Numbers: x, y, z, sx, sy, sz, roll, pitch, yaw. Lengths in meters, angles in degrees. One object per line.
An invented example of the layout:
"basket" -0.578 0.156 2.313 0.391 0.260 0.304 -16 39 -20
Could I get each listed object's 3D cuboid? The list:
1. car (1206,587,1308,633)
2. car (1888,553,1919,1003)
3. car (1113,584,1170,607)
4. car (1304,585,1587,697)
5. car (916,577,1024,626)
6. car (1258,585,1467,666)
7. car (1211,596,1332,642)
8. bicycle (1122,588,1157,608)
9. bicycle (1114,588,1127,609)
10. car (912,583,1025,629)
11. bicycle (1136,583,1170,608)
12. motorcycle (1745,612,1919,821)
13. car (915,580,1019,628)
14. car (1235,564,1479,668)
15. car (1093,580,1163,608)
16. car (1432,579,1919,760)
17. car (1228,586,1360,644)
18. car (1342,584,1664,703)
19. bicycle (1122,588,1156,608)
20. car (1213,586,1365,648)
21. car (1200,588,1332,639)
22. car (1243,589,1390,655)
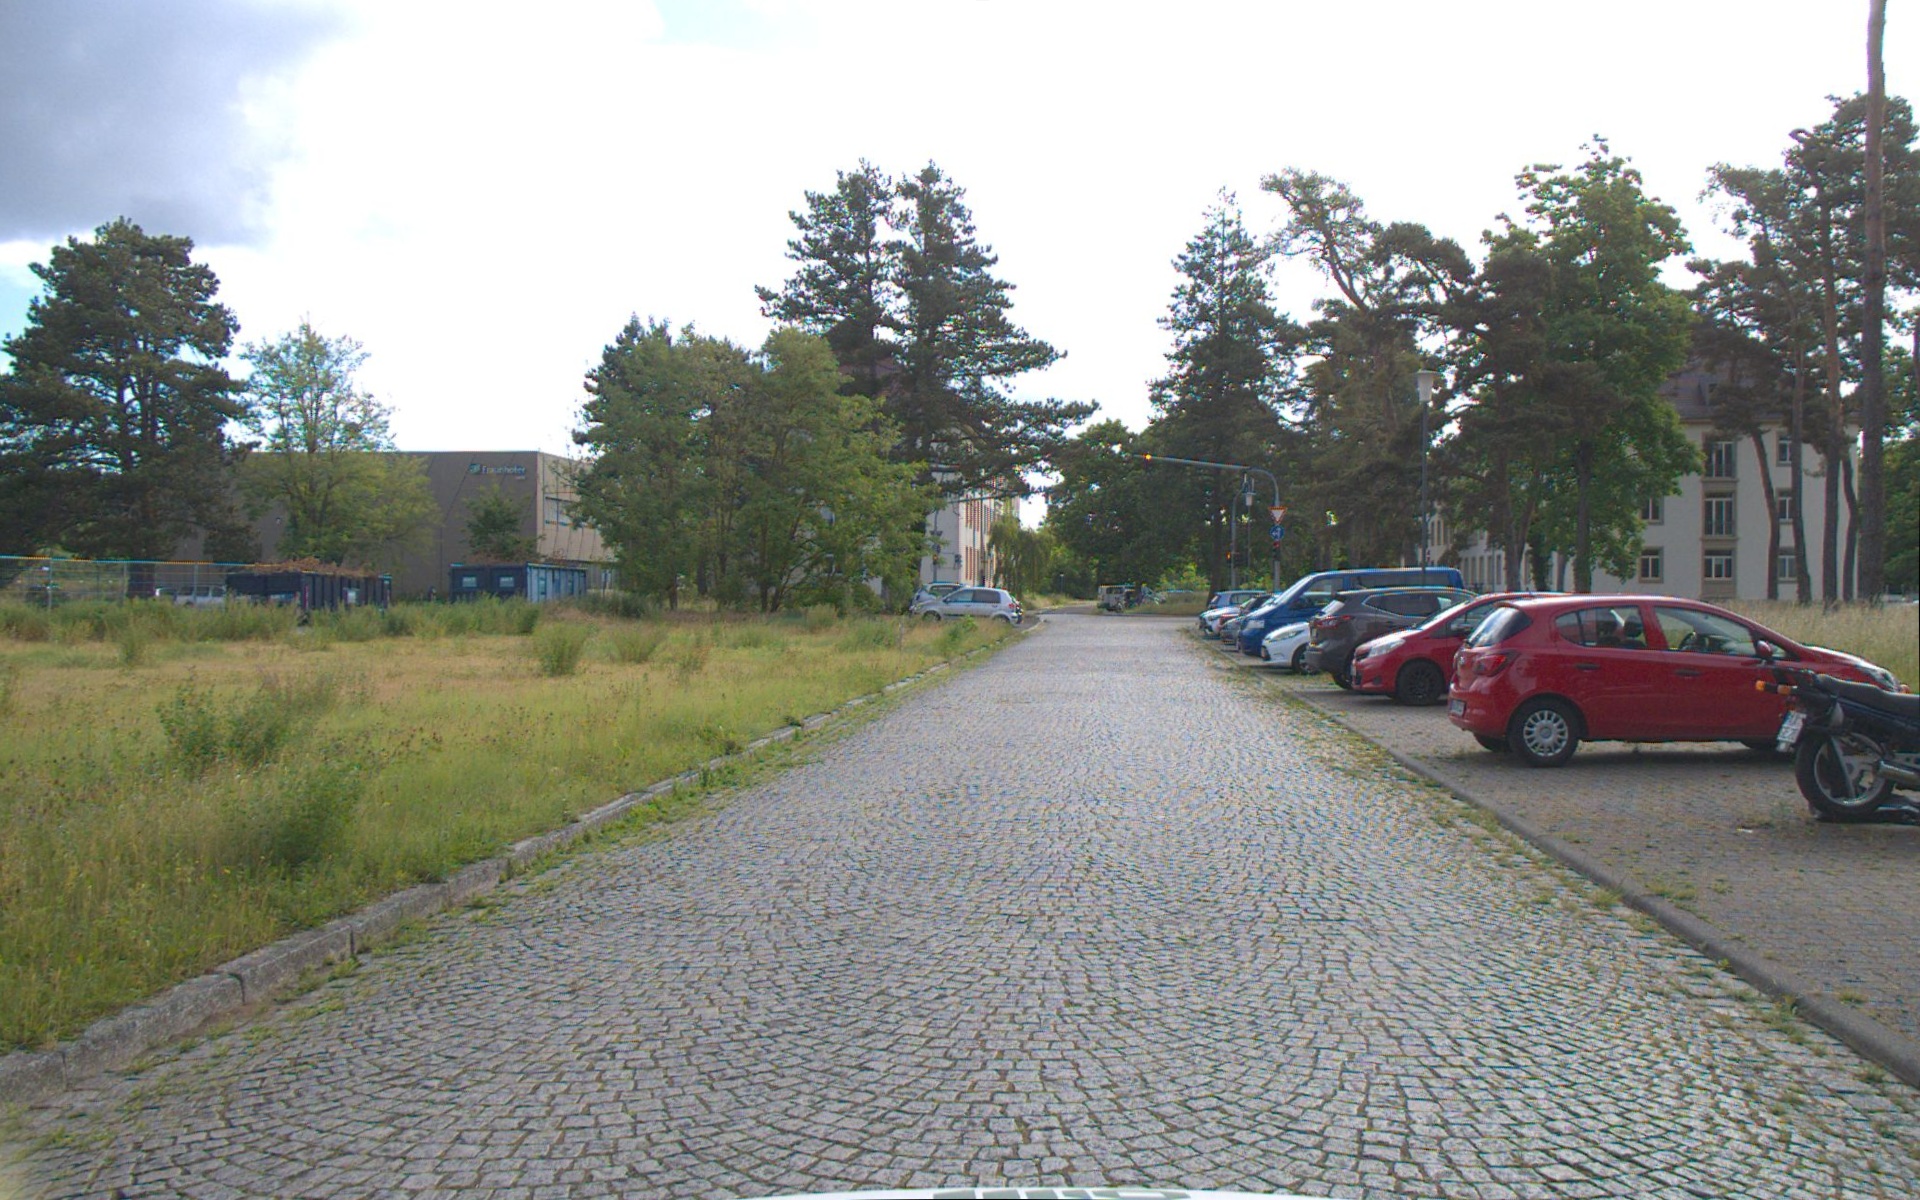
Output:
"car" 10.380 0.334 57.977 3.319 1.570 1.391 0 1 -1
"car" 5.409 0.610 4.947 4.173 1.601 1.897 -1 1 5
"car" 13.329 -0.346 121.541 3.906 1.673 2.000 0 0 -1
"car" 7.347 0.591 25.338 3.867 1.608 1.763 1 0 4
"car" 0.363 0.037 60.601 3.906 1.735 2.000 0 1 -1
"car" 7.676 0.467 31.800 3.644 1.449 1.655 -1 0 3
"car" 9.049 0.545 48.186 3.225 1.289 1.664 0 1 0
"bicycle" 11.612 -0.147 107.081 2.116 1.290 0.812 0 0 -1
"bicycle" 10.044 -0.095 103.448 0.792 1.290 1.974 0 0 6
"car" 0.294 0.198 58.020 3.906 1.579 2.000 0 1 -1
"bicycle" 12.636 -0.295 108.290 2.116 1.644 0.812 0 0 -1
"motorcycle" 6.317 0.731 10.667 2.218 1.297 0.606 0 0 0
"car" 0.238 0.129 63.460 3.906 1.780 1.926 1 0 -2
"car" 8.138 0.306 34.246 4.682 2.075 1.739 0 1 3
"car" 12.689 -0.493 124.893 4.952 2.049 1.998 1 0 -5
"car" 6.424 0.598 15.157 3.758 1.532 1.739 -1 0 4
"car" 9.165 0.399 45.540 3.228 1.530 1.662 0 1 -5
"car" 7.356 0.562 22.716 3.902 1.545 1.739 0 0 5
"bicycle" 11.662 -0.145 107.667 2.116 1.290 0.812 0 0 -1
"car" 8.449 0.423 42.620 3.528 1.533 1.662 0 1 -6
"car" 9.707 0.409 52.711 3.905 1.570 1.664 0 1 -1
"car" 8.493 0.500 39.563 3.223 1.531 1.665 0 1 3
